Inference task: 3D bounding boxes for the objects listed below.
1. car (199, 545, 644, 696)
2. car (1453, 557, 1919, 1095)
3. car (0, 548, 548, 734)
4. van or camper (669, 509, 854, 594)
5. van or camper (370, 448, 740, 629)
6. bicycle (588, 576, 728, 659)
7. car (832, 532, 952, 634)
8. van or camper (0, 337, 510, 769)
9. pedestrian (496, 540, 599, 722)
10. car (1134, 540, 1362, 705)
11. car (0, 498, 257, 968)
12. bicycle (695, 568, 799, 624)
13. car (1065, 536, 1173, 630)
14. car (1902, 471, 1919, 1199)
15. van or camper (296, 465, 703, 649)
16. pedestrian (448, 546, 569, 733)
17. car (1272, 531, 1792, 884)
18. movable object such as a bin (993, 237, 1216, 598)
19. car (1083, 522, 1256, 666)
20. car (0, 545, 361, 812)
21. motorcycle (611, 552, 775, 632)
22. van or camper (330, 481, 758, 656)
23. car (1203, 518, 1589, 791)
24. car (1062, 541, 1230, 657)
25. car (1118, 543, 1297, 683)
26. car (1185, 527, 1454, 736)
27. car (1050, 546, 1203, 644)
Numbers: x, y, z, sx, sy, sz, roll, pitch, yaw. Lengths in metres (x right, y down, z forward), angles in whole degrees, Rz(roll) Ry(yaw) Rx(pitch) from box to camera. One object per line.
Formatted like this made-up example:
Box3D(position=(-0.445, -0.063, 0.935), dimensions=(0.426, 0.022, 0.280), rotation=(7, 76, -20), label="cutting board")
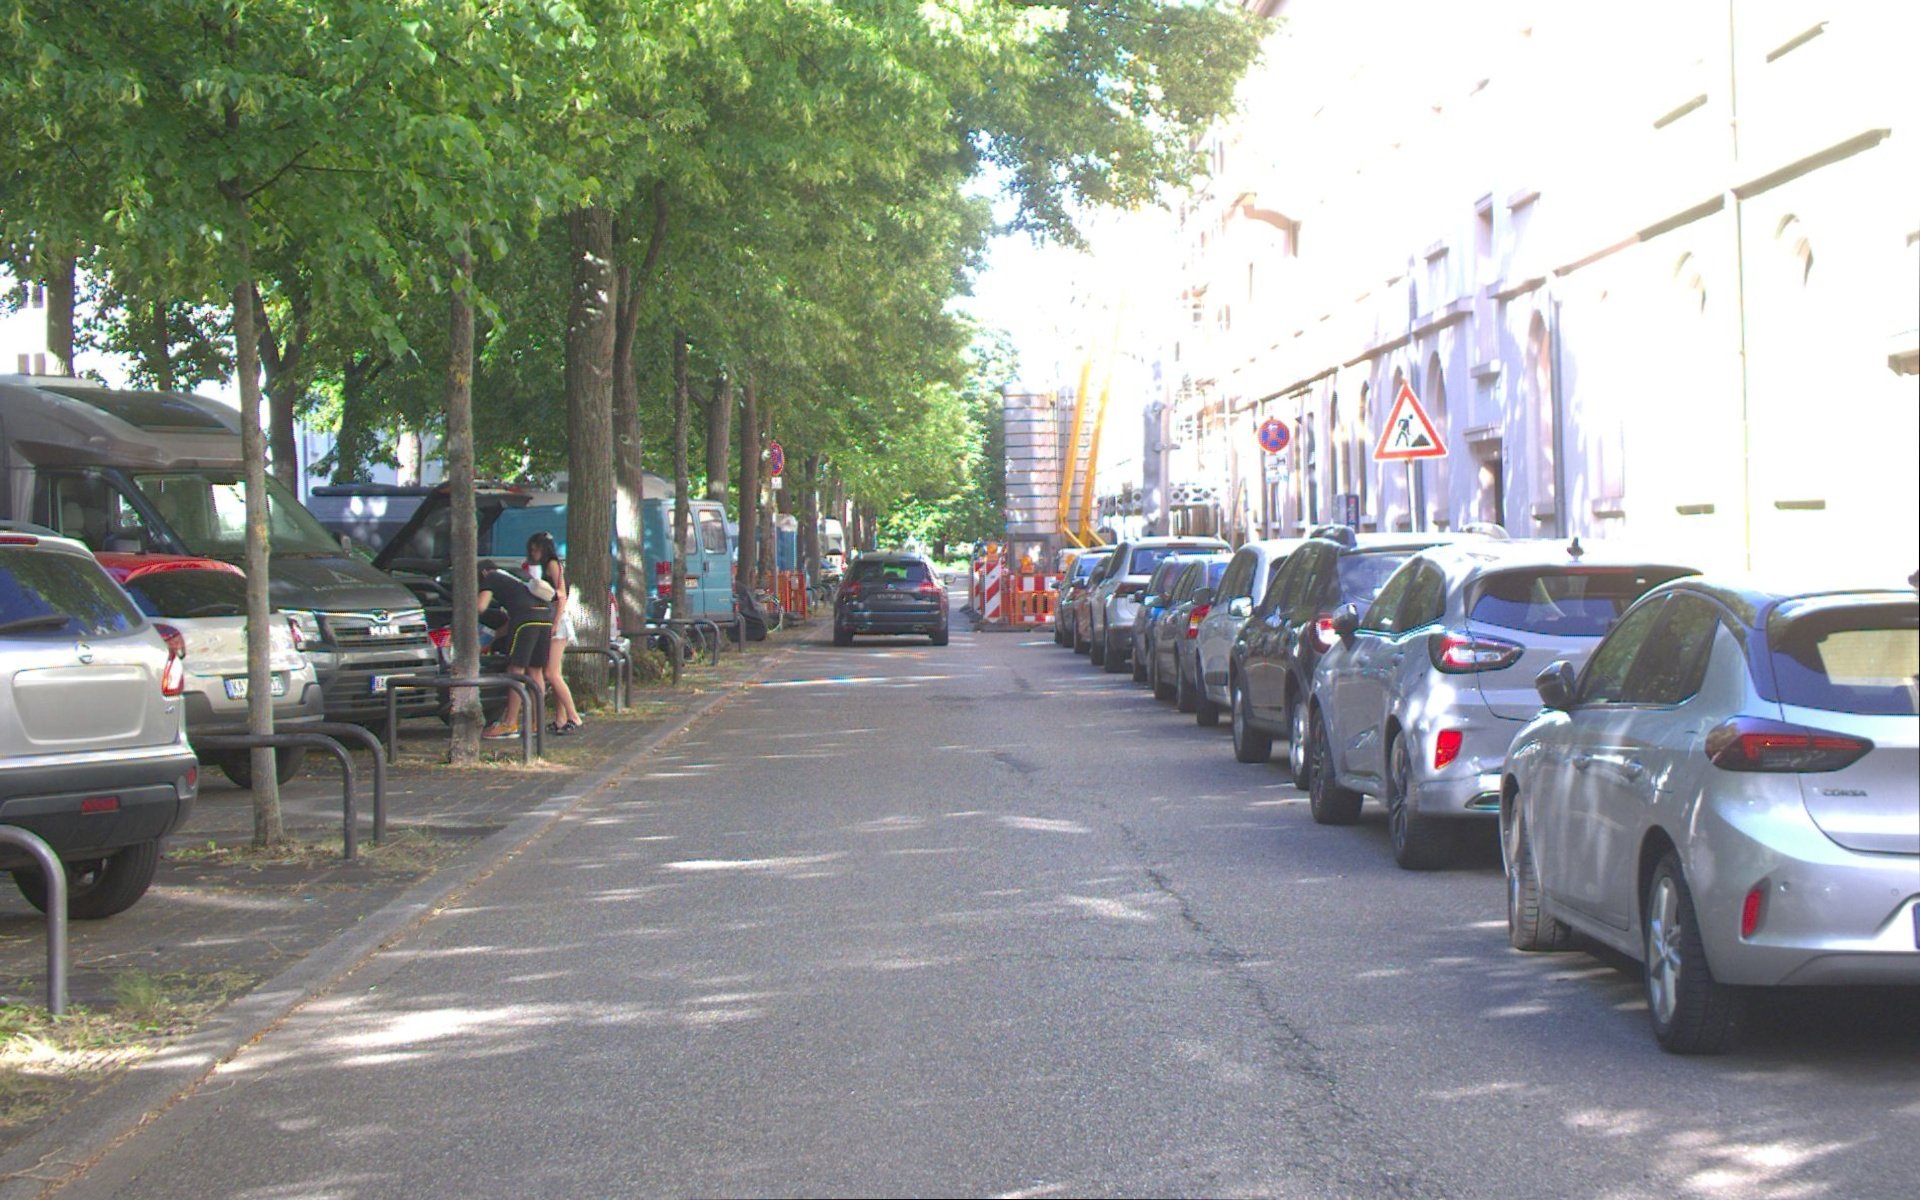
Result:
Box3D(position=(-5.579, 0.204, 35.438), dimensions=(4.482, 1.438, 1.729), rotation=(0, 1, 32), label="car")
Box3D(position=(2.867, 0.602, 11.639), dimensions=(1.722, 1.427, 4.158), rotation=(-1, 1, -1), label="car")
Box3D(position=(-5.695, 0.329, 28.360), dimensions=(4.321, 1.419, 1.673), rotation=(-1, 1, 26), label="car")
Box3D(position=(-6.196, -1.508, 106.989), dimensions=(5.342, 2.466, 2.290), rotation=(-1, 1, 32), label="van or camper")
Box3D(position=(-7.722, -1.146, 65.380), dimensions=(6.666, 3.229, 2.492), rotation=(-1, 1, 28), label="van or camper")
Box3D(position=(-3.888, 0.218, 44.366), dimensions=(1.719, 1.002, 0.511), rotation=(-2, 1, -30), label="bicycle")
Box3D(position=(-1.095, -0.297, 54.784), dimensions=(1.797, 1.498, 3.586), rotation=(-2, 1, -2), label="car")
Box3D(position=(-7.109, -0.295, 25.930), dimensions=(7.236, 2.919, 2.311), rotation=(-1, 1, 27), label="van or camper")
Box3D(position=(-3.340, 0.247, 27.859), dimensions=(0.615, 1.451, 0.519), rotation=(-1, 1, 23), label="pedestrian")
Box3D(position=(2.642, 0.162, 32.309), dimensions=(1.630, 1.408, 4.089), rotation=(-1, 1, -2), label="car")
Box3D(position=(-5.012, 0.478, 13.699), dimensions=(4.140, 1.673, 1.756), rotation=(-1, 1, 29), label="car")
Box3D(position=(-3.885, -0.071, 62.682), dimensions=(1.899, 1.003, 0.430), rotation=(-1, 1, 23), label="bicycle")
Box3D(position=(2.655, -0.303, 57.885), dimensions=(1.591, 1.525, 2.781), rotation=(-1, 1, -2), label="car")
Box3D(position=(2.960, 0.593, 5.191), dimensions=(1.722, 1.680, 4.159), rotation=(-1, 1, -3), label="car")
Box3D(position=(-7.030, -0.643, 52.280), dimensions=(5.877, 2.628, 2.252), rotation=(-1, 1, 29), label="van or camper")
Box3D(position=(-3.583, 0.309, 27.308), dimensions=(0.710, 1.451, 0.596), rotation=(-1, 1, 23), label="pedestrian")
Box3D(position=(2.724, 0.433, 17.292), dimensions=(1.722, 1.523, 4.159), rotation=(-1, 1, -3), label="car")
Box3D(position=(2.782, -3.429, 66.097), dimensions=(3.485, 6.736, 2.364), rotation=(0, 1, 32), label="movable object such as a bin")
Box3D(position=(2.559, -0.119, 43.036), dimensions=(1.816, 1.668, 4.674), rotation=(-1, 1, 0), label="car")
Box3D(position=(-5.907, 0.470, 21.481), dimensions=(3.993, 1.502, 1.755), rotation=(-1, 1, 28), label="car")
Box3D(position=(-4.358, -0.134, 56.230), dimensions=(2.550, 1.254, 0.763), rotation=(-1, 1, 8), label="motorcycle")
Box3D(position=(-5.817, -0.432, 48.035), dimensions=(5.504, 2.267, 2.218), rotation=(-1, 1, 24), label="van or camper")
Box3D(position=(2.744, 0.282, 22.543), dimensions=(1.722, 1.591, 4.159), rotation=(-1, 1, -4), label="car")
Box3D(position=(2.569, -0.043, 48.368), dimensions=(1.790, 1.518, 3.965), rotation=(-1, 1, -5), label="car")
Box3D(position=(2.648, 0.103, 37.479), dimensions=(1.617, 1.408, 3.788), rotation=(-1, 1, 0), label="car")
Box3D(position=(2.813, 0.200, 27.581), dimensions=(1.630, 1.529, 3.593), rotation=(-1, 1, -2), label="car")
Box3D(position=(2.510, -0.108, 52.810), dimensions=(1.993, 1.404, 4.501), rotation=(-1, 1, -2), label="car")
